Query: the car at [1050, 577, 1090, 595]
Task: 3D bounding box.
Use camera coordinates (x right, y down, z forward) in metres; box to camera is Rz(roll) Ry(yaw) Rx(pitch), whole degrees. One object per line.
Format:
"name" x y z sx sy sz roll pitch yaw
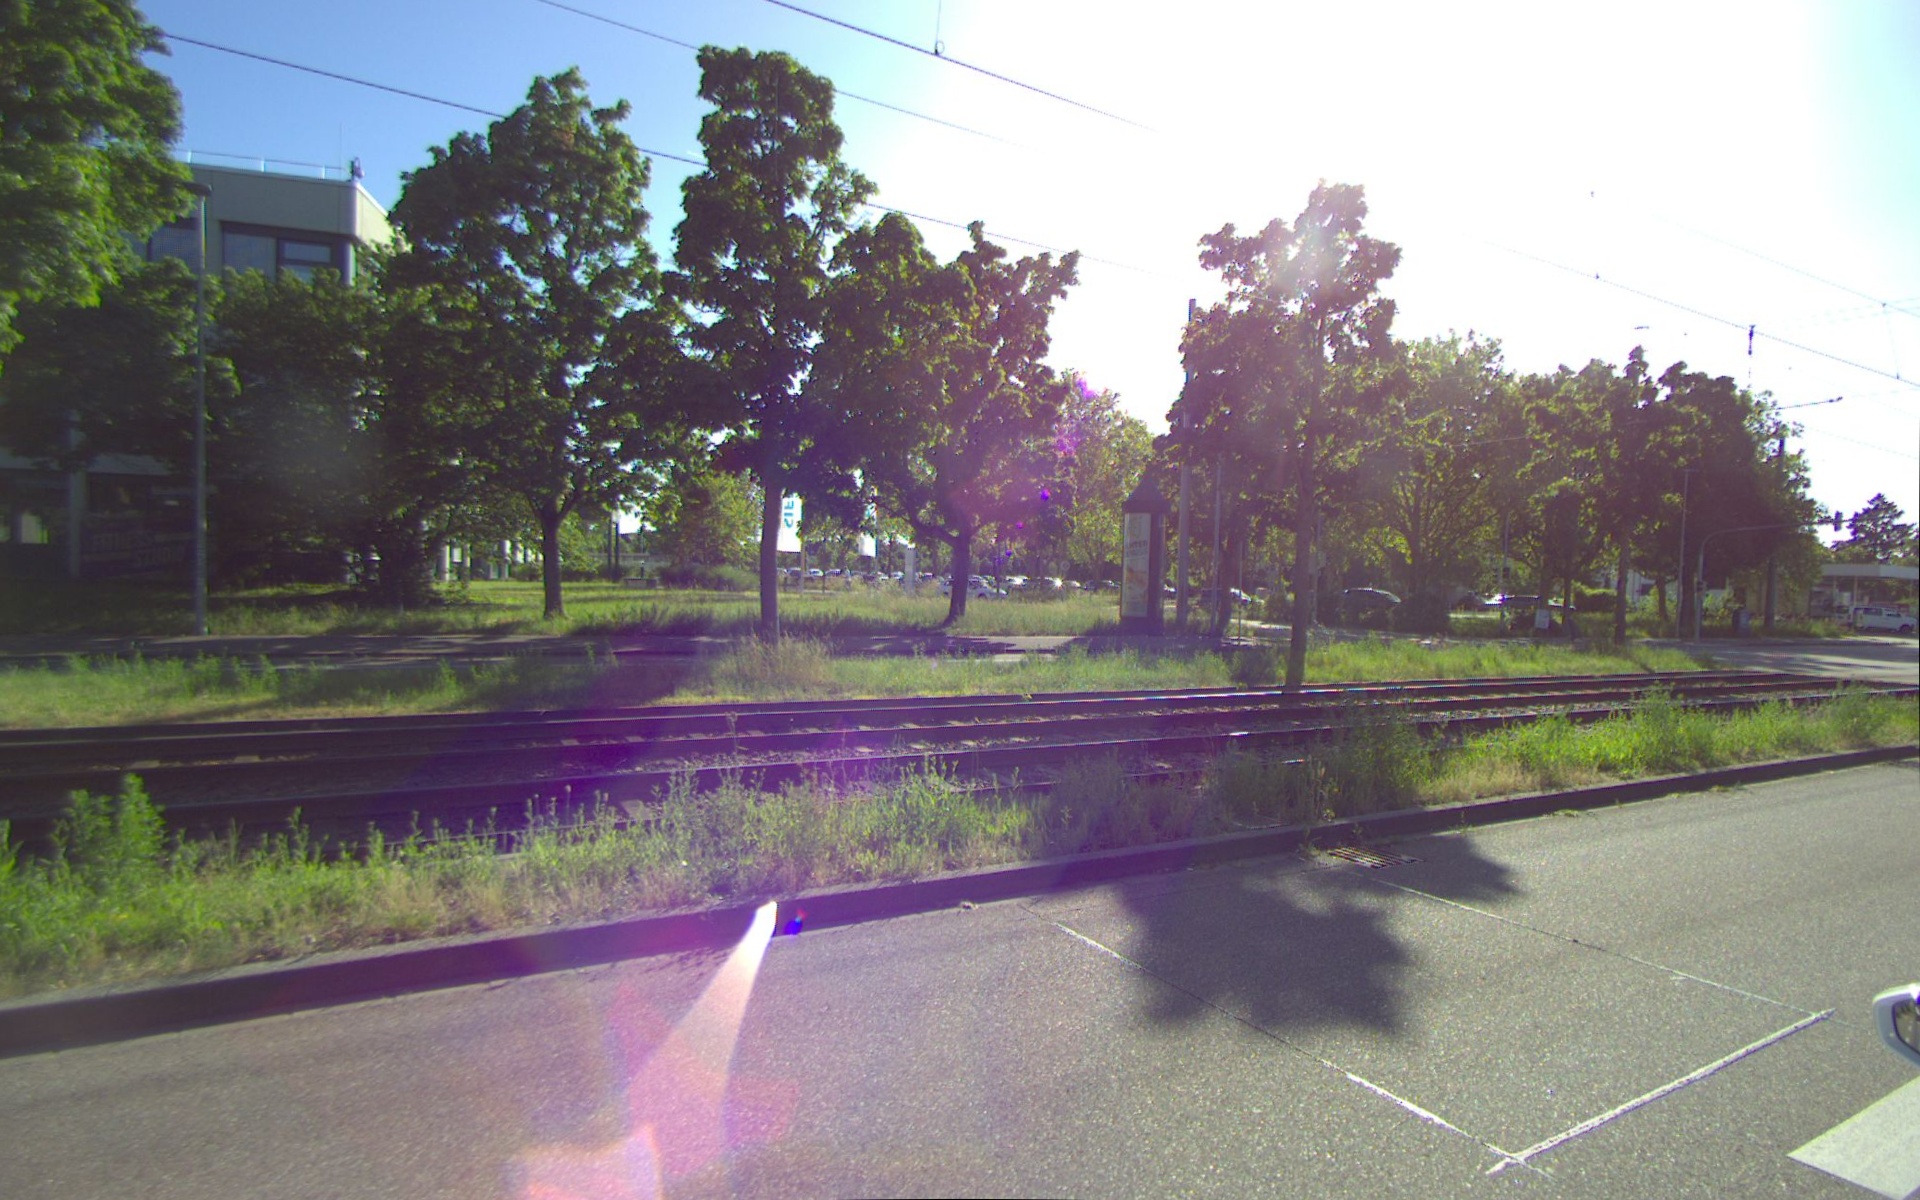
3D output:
"car" 11.383 -1.445 103.997 1.815 1.690 3.955 1 2 -38

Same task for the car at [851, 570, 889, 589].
"car" -8.873 -2.032 98.849 1.815 1.627 3.955 1 2 -38

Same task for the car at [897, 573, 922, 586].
"car" -6.588 -2.701 131.093 1.806 1.627 3.975 1 2 -24

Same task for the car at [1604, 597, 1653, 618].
"car" 54.043 0.579 81.189 4.037 1.565 1.571 1 2 -28

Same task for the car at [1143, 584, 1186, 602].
"car" 19.585 -0.680 96.256 1.729 1.468 3.938 1 2 -35

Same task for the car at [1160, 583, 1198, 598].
"car" 24.305 -1.086 111.656 1.829 1.451 3.938 1 2 -35

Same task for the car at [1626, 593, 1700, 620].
"car" 59.794 0.534 85.505 1.998 2.119 4.695 1 1 -32

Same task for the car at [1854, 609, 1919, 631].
"car" 74.010 1.574 79.648 4.380 1.548 1.793 2 1 7

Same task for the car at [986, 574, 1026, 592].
"car" 4.599 -1.711 100.214 1.815 1.690 3.955 1 2 -38

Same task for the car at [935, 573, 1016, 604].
"car" 0.877 -0.659 58.304 4.360 1.662 1.982 3 1 37

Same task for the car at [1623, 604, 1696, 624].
"car" 49.789 0.976 71.574 1.649 1.182 3.939 1 2 -35

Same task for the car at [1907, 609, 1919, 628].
"car" 83.949 1.669 85.844 1.773 1.589 4.047 1 1 -33

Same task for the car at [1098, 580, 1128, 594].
"car" 19.424 -1.662 127.412 1.806 1.627 3.975 1 2 -24

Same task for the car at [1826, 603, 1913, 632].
"car" 69.942 1.311 77.303 4.689 2.000 1.861 2 1 7
